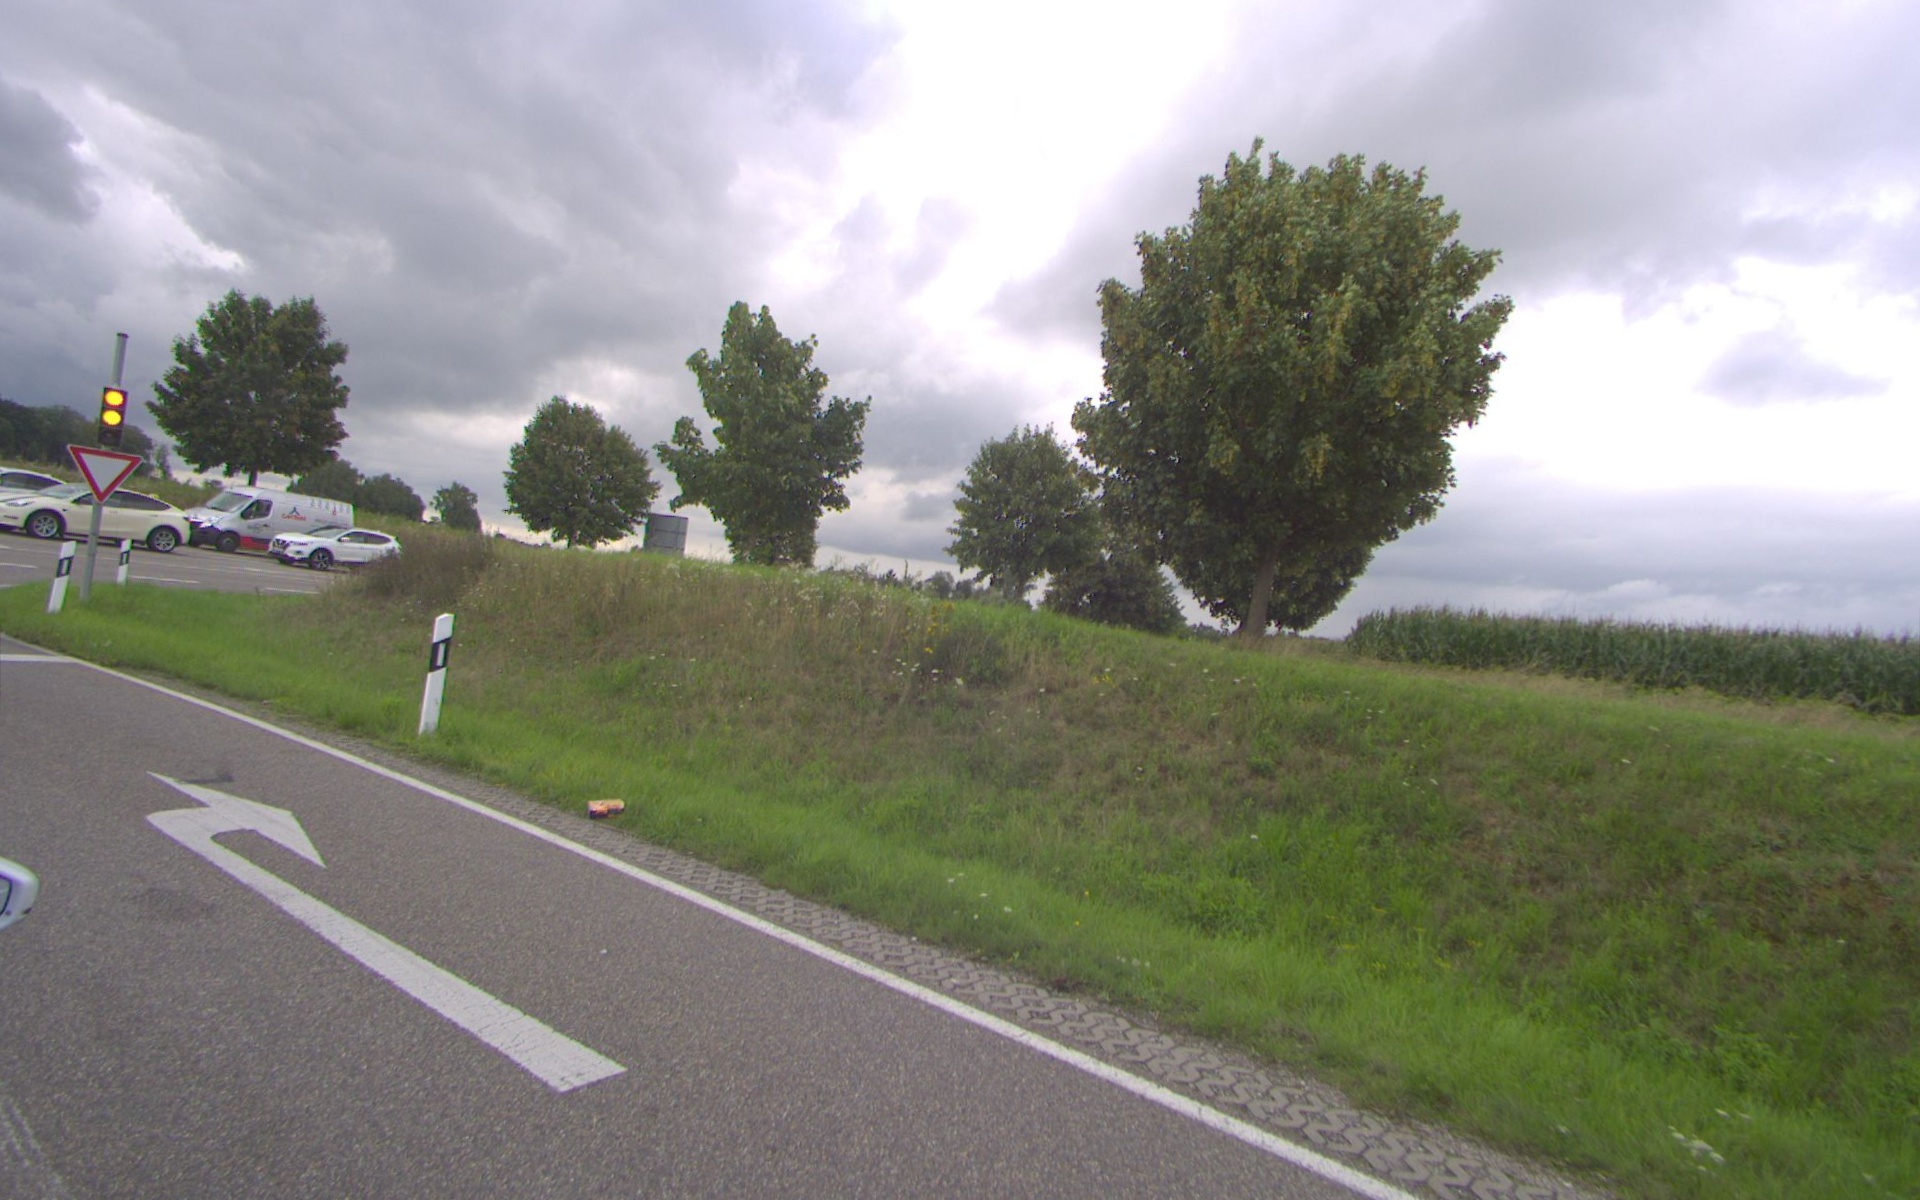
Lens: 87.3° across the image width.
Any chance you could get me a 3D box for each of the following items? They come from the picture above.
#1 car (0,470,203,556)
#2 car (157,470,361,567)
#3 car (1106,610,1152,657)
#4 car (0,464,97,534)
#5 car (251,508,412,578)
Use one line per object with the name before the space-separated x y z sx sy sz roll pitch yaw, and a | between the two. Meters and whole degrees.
car | -24.145 -2.399 27.788 1.963 1.582 4.752 8 -2 20
car | -25.354 -2.860 36.695 2.354 2.470 5.517 8 -2 20
car | 8.734 1.773 51.777 1.962 2.037 4.005 7 -2 12
car | -27.831 -3.106 28.741 1.963 1.647 4.278 8 -2 19
car | -21.795 -1.930 35.090 1.963 1.648 4.326 8 -2 20
